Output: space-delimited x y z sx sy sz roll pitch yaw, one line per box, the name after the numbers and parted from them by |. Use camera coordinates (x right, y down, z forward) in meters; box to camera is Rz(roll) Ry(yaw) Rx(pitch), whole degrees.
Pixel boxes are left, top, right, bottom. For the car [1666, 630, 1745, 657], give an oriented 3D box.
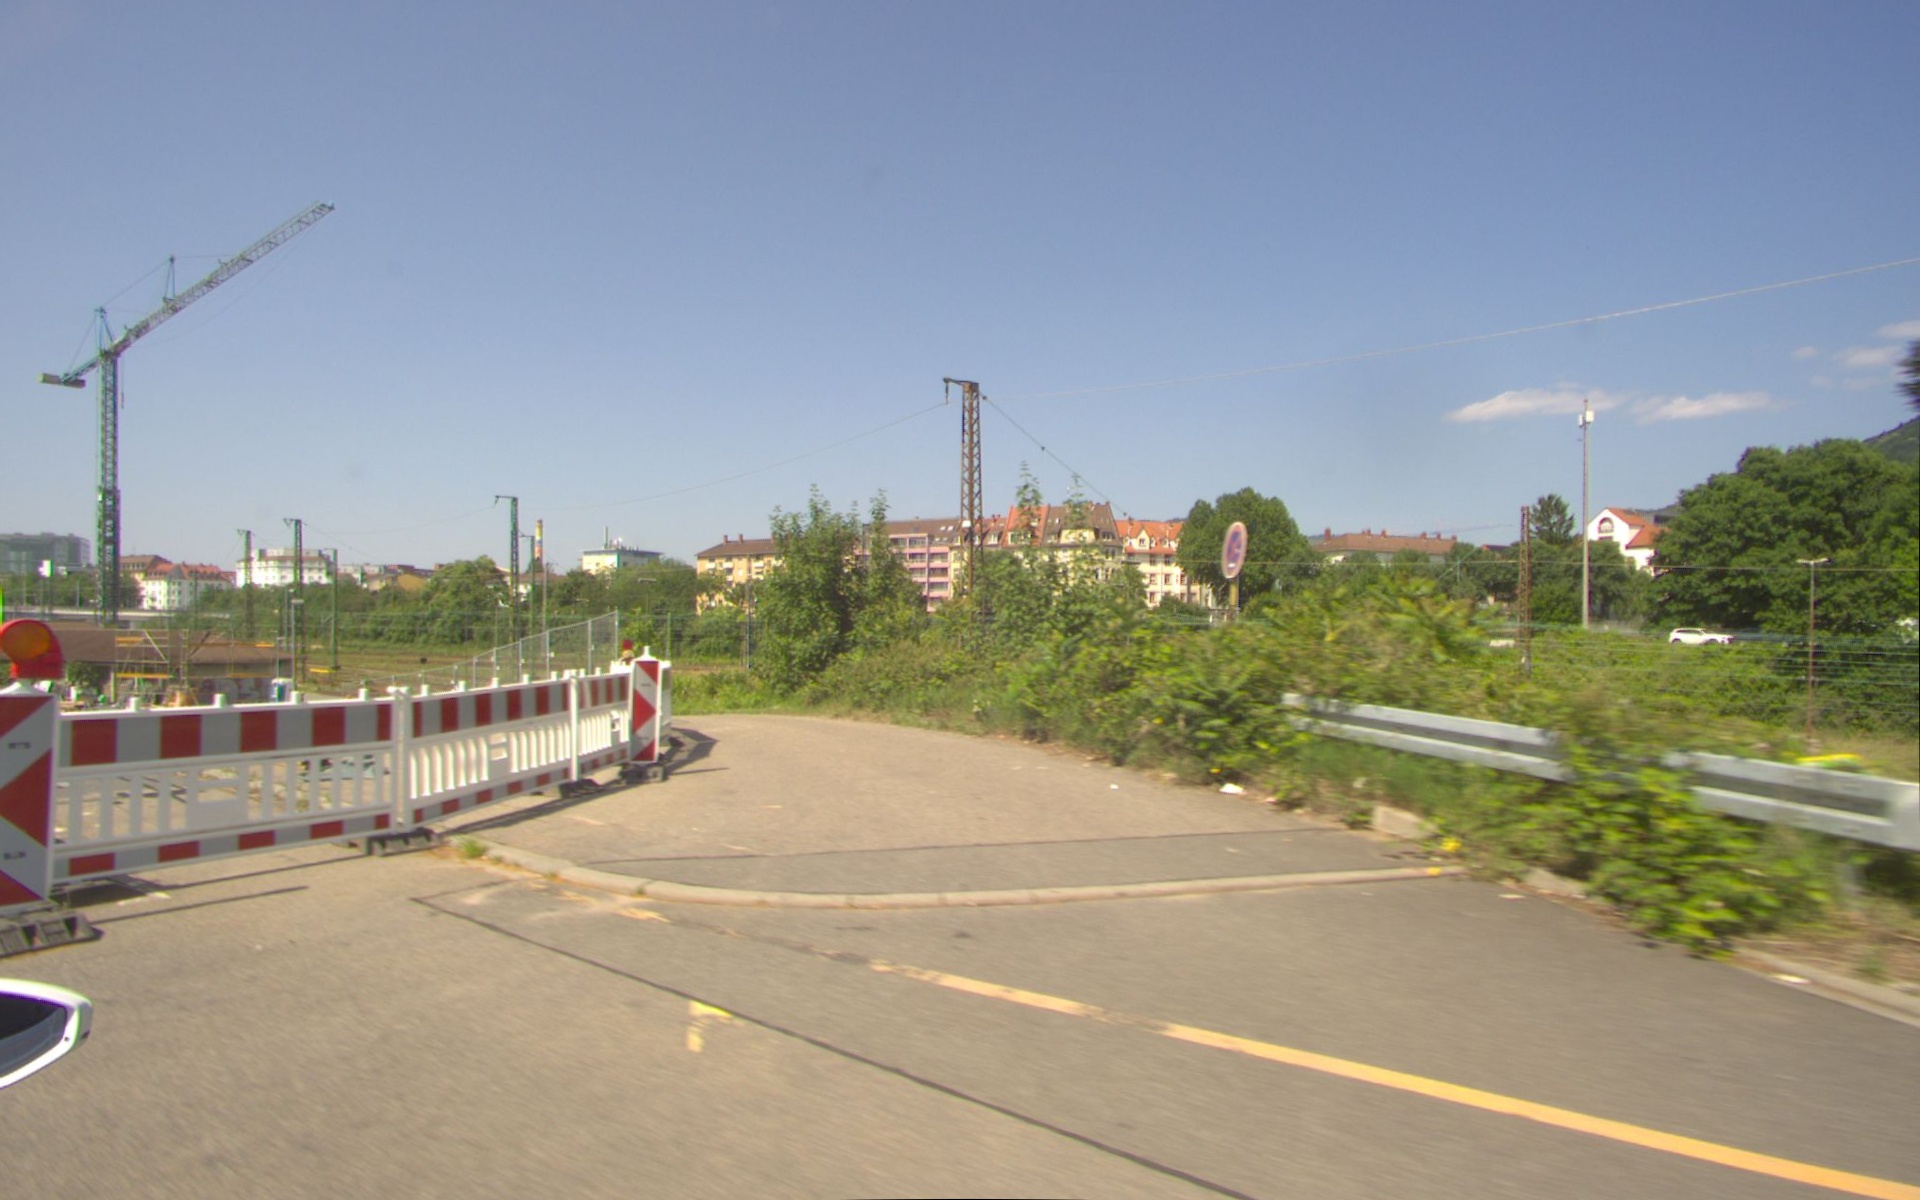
61.146 3.547 82.194 1.981 2.140 4.943 1 -1 -44 | car
